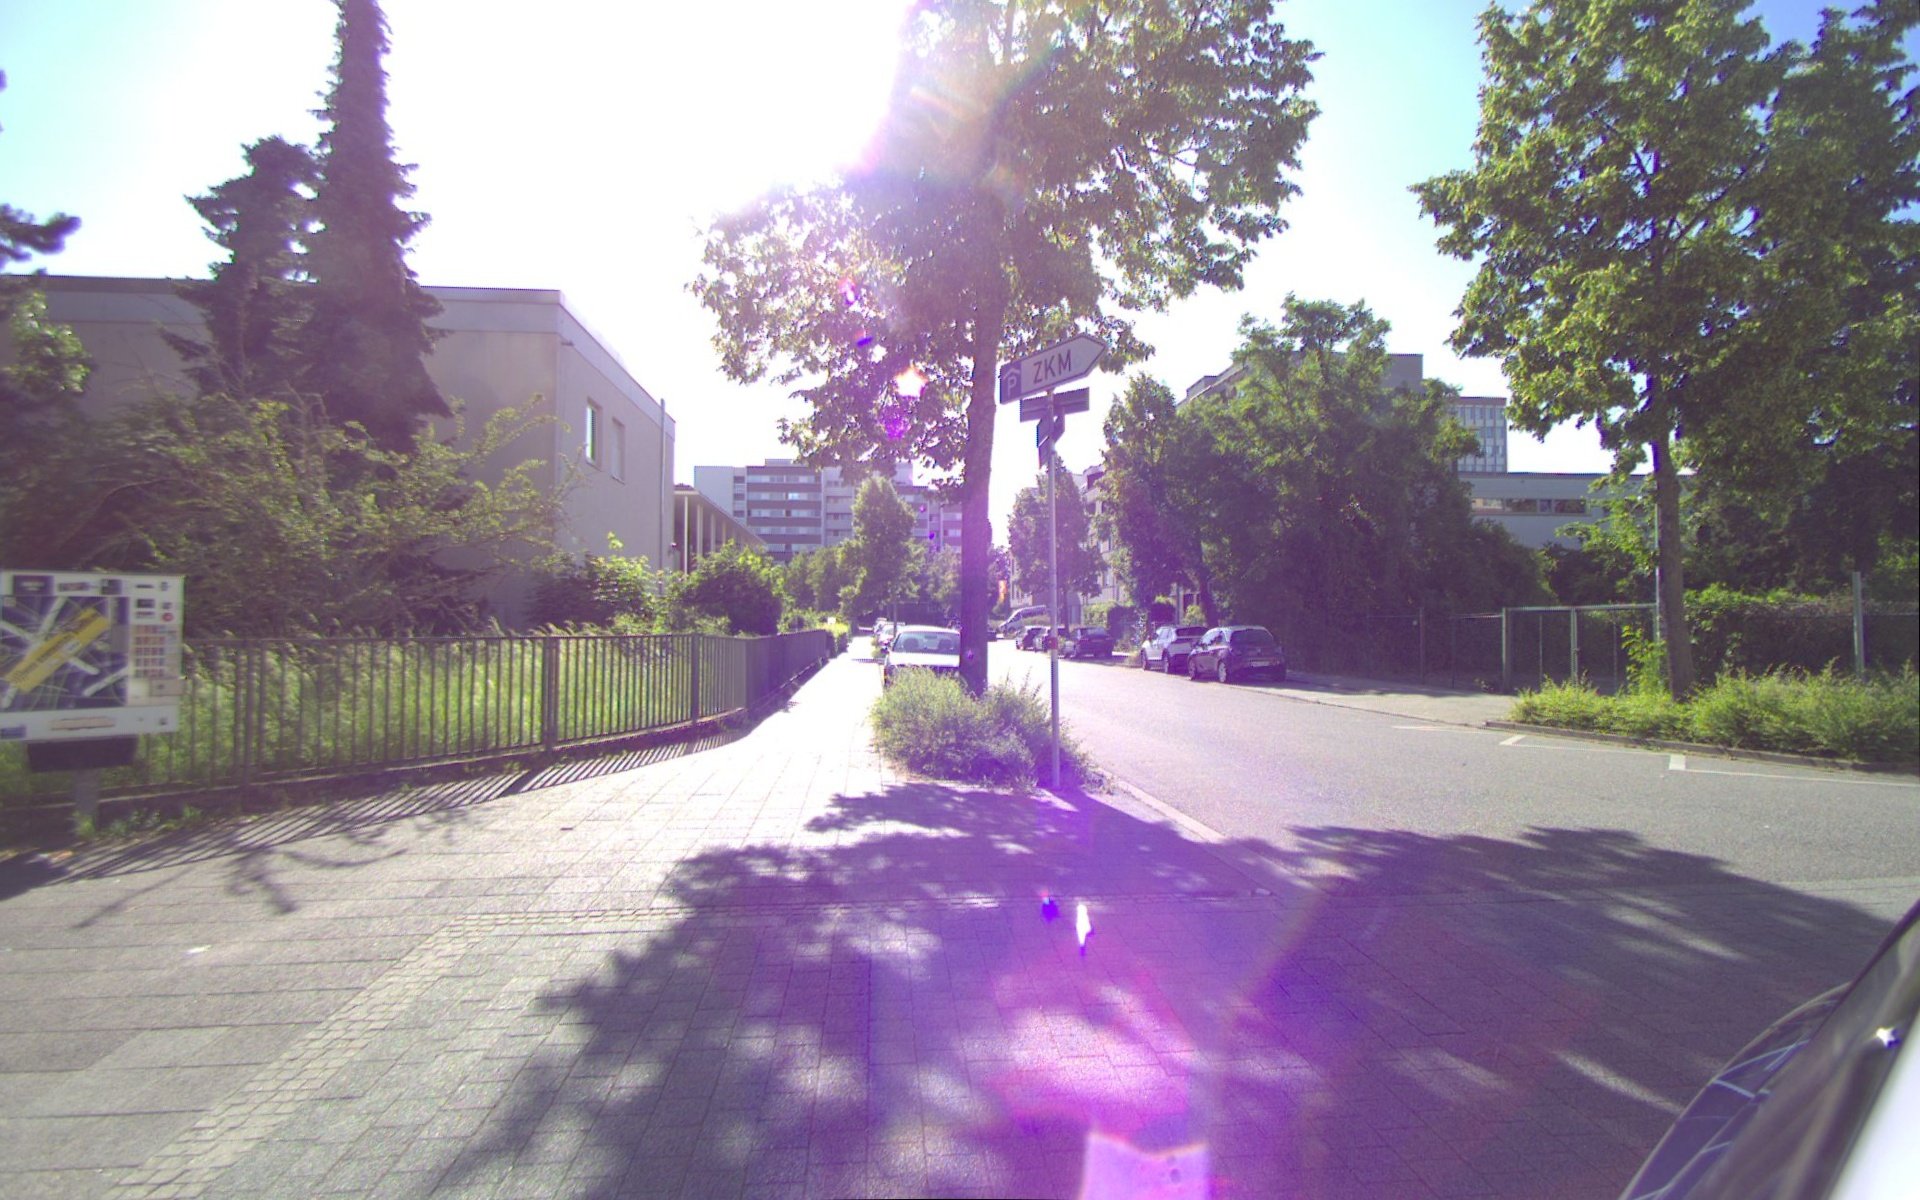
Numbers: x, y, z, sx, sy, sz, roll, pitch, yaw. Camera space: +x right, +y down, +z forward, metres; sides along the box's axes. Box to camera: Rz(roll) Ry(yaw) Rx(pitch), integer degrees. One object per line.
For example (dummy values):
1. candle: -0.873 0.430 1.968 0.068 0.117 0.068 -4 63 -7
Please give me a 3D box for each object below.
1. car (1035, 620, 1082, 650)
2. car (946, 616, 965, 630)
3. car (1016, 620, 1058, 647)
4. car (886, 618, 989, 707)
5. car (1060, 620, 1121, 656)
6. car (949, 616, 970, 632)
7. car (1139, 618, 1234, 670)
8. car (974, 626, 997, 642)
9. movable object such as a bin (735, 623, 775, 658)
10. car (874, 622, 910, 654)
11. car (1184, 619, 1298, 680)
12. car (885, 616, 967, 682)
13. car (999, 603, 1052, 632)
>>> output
1. car: 5.346 1.872 55.596 1.809 1.493 4.030 -2 -1 -5
2. car: -0.533 2.696 119.481 1.760 1.537 3.894 -1 -1 -8
3. car: 4.614 2.001 61.327 1.809 1.493 4.103 -2 -1 -5
4. car: -0.536 1.099 19.328 1.717 1.440 4.427 -1 -1 -4
5. car: 5.880 1.691 46.107 1.809 1.493 4.363 -2 -1 -5
6. car: -0.095 2.599 110.728 1.760 1.620 3.894 -1 -1 -8
7. car: 7.233 1.381 32.734 1.809 1.493 4.005 -2 -1 -5
8. car: 2.126 2.864 85.224 1.599 1.263 3.565 0 -1 -5
9. movable object such as a bin: -8.110 1.584 40.103 1.343 1.375 1.632 0 -1 -4
10. car: -3.385 1.838 49.939 1.647 1.523 3.849 0 -2 -6
11. car: 7.539 1.284 27.510 1.688 1.493 3.550 -2 -1 -7
12. car: -0.938 1.199 25.822 1.753 1.535 4.003 1 -2 -6
13. car: 6.616 1.745 102.094 5.050 2.940 2.017 0 -1 -8
